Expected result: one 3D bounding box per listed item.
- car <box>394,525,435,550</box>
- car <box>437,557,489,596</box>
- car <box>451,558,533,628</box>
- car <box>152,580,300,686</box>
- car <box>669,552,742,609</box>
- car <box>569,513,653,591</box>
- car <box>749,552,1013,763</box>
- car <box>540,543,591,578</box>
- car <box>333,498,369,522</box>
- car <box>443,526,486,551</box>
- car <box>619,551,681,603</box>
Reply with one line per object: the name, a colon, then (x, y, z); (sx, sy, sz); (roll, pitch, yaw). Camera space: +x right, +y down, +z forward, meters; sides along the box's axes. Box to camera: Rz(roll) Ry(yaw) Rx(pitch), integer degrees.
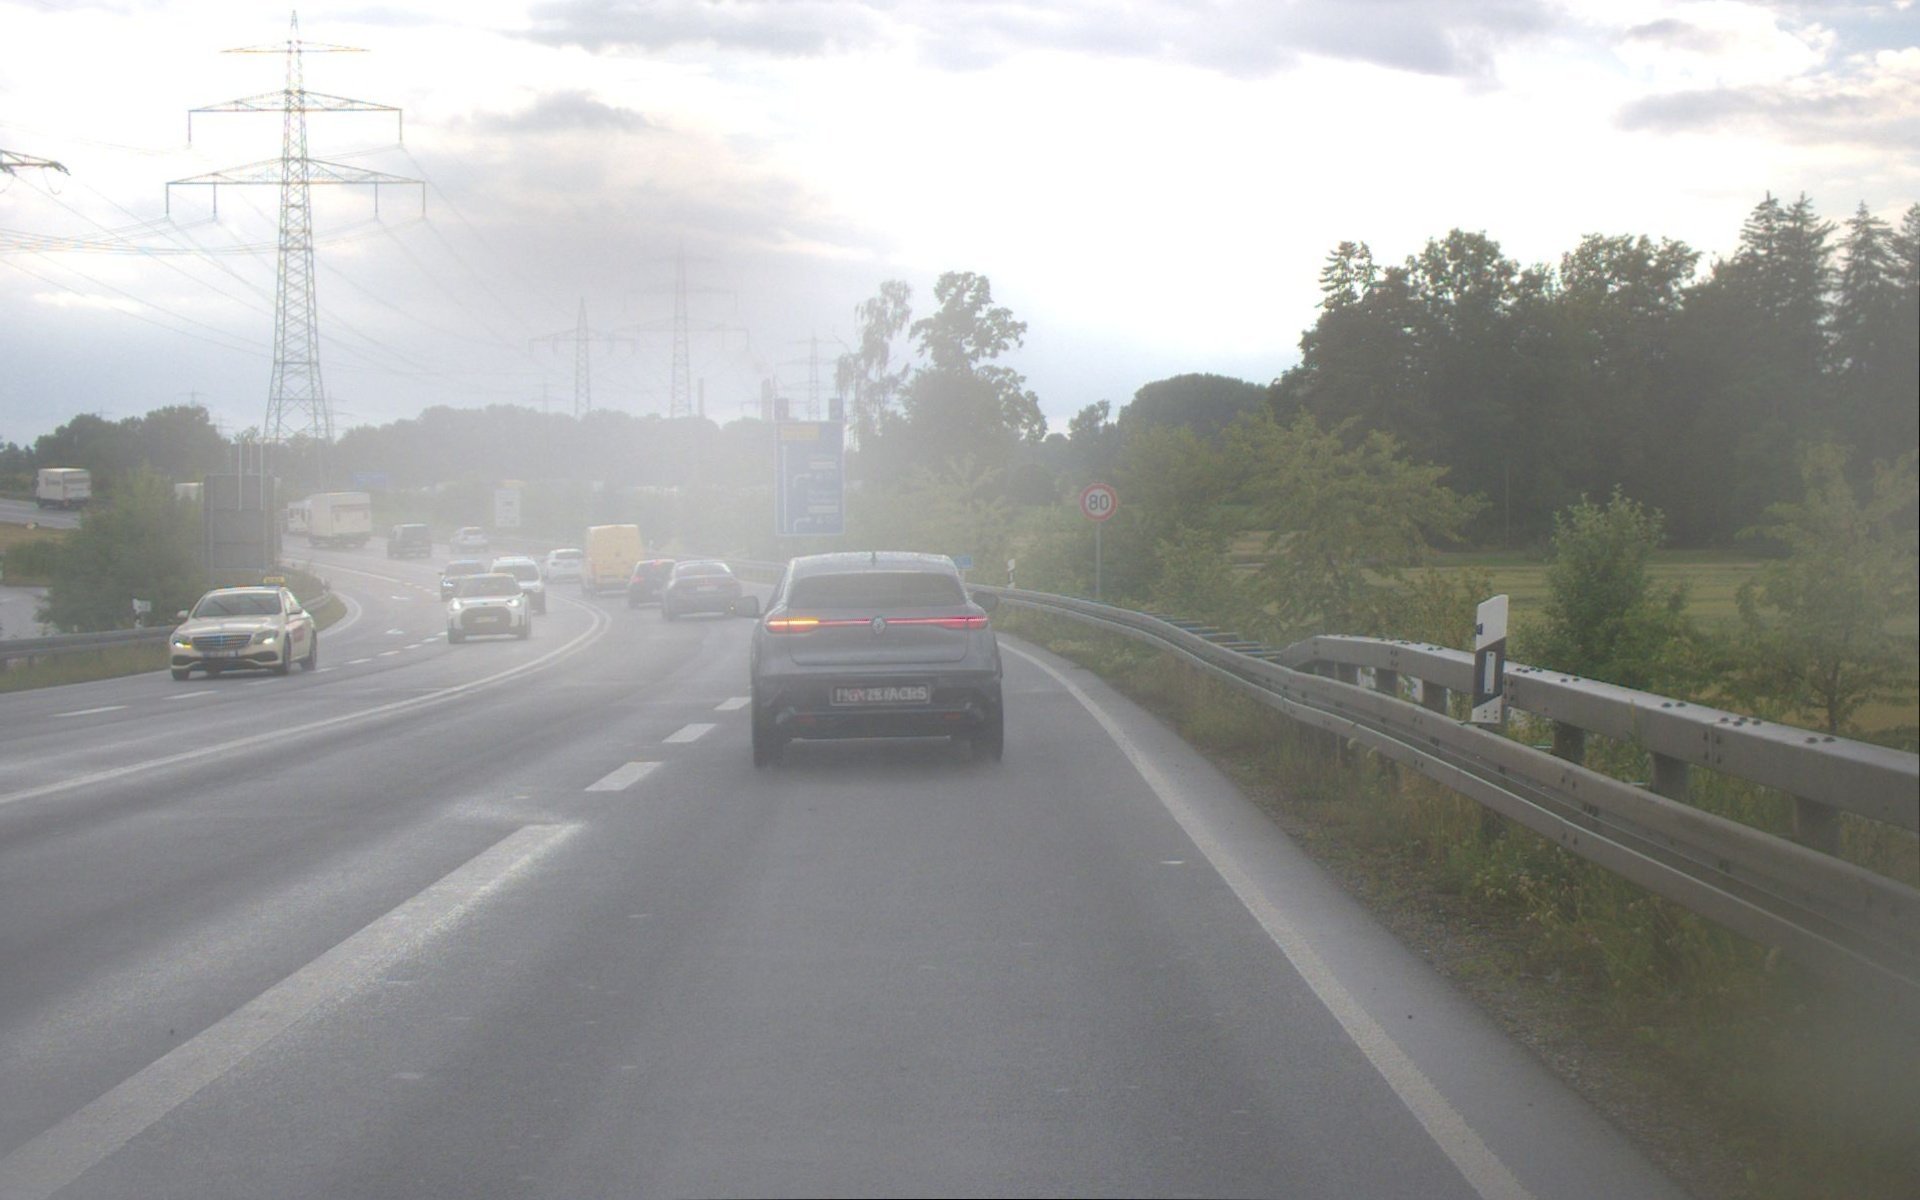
car: (-31.811, -3.646, 200.370); (1.791, 1.436, 4.001); (1, 1, -17)
car: (-18.840, -0.899, 130.450); (1.895, 1.436, 4.901); (-1, 0, -8)
car: (-10.561, -0.174, 77.686); (1.766, 1.495, 4.211); (-1, 1, -7)
car: (-12.056, 0.512, 56.732); (1.943, 1.654, 4.647); (0, 0, -7)
car: (-6.519, -0.514, 88.284); (1.791, 1.436, 4.001); (0, 1, -3)
car: (-12.754, -1.741, 125.320); (2.572, 2.716, 7.198); (1, 1, -9)
car: (-0.582, 0.372, 25.426); (1.791, 1.436, 4.000); (0, 1, -1)
car: (-16.841, -1.676, 146.730); (1.791, 1.436, 4.001); (1, 1, -12)
car: (-39.024, -5.778, 220.294); (1.791, 1.436, 4.002); (1, 2, -17)
car: (-29.376, -3.622, 203.802); (1.791, 1.436, 4.001); (1, 1, -19)
car: (-9.482, -0.706, 105.411); (1.791, 1.536, 4.001); (1, 1, -4)
